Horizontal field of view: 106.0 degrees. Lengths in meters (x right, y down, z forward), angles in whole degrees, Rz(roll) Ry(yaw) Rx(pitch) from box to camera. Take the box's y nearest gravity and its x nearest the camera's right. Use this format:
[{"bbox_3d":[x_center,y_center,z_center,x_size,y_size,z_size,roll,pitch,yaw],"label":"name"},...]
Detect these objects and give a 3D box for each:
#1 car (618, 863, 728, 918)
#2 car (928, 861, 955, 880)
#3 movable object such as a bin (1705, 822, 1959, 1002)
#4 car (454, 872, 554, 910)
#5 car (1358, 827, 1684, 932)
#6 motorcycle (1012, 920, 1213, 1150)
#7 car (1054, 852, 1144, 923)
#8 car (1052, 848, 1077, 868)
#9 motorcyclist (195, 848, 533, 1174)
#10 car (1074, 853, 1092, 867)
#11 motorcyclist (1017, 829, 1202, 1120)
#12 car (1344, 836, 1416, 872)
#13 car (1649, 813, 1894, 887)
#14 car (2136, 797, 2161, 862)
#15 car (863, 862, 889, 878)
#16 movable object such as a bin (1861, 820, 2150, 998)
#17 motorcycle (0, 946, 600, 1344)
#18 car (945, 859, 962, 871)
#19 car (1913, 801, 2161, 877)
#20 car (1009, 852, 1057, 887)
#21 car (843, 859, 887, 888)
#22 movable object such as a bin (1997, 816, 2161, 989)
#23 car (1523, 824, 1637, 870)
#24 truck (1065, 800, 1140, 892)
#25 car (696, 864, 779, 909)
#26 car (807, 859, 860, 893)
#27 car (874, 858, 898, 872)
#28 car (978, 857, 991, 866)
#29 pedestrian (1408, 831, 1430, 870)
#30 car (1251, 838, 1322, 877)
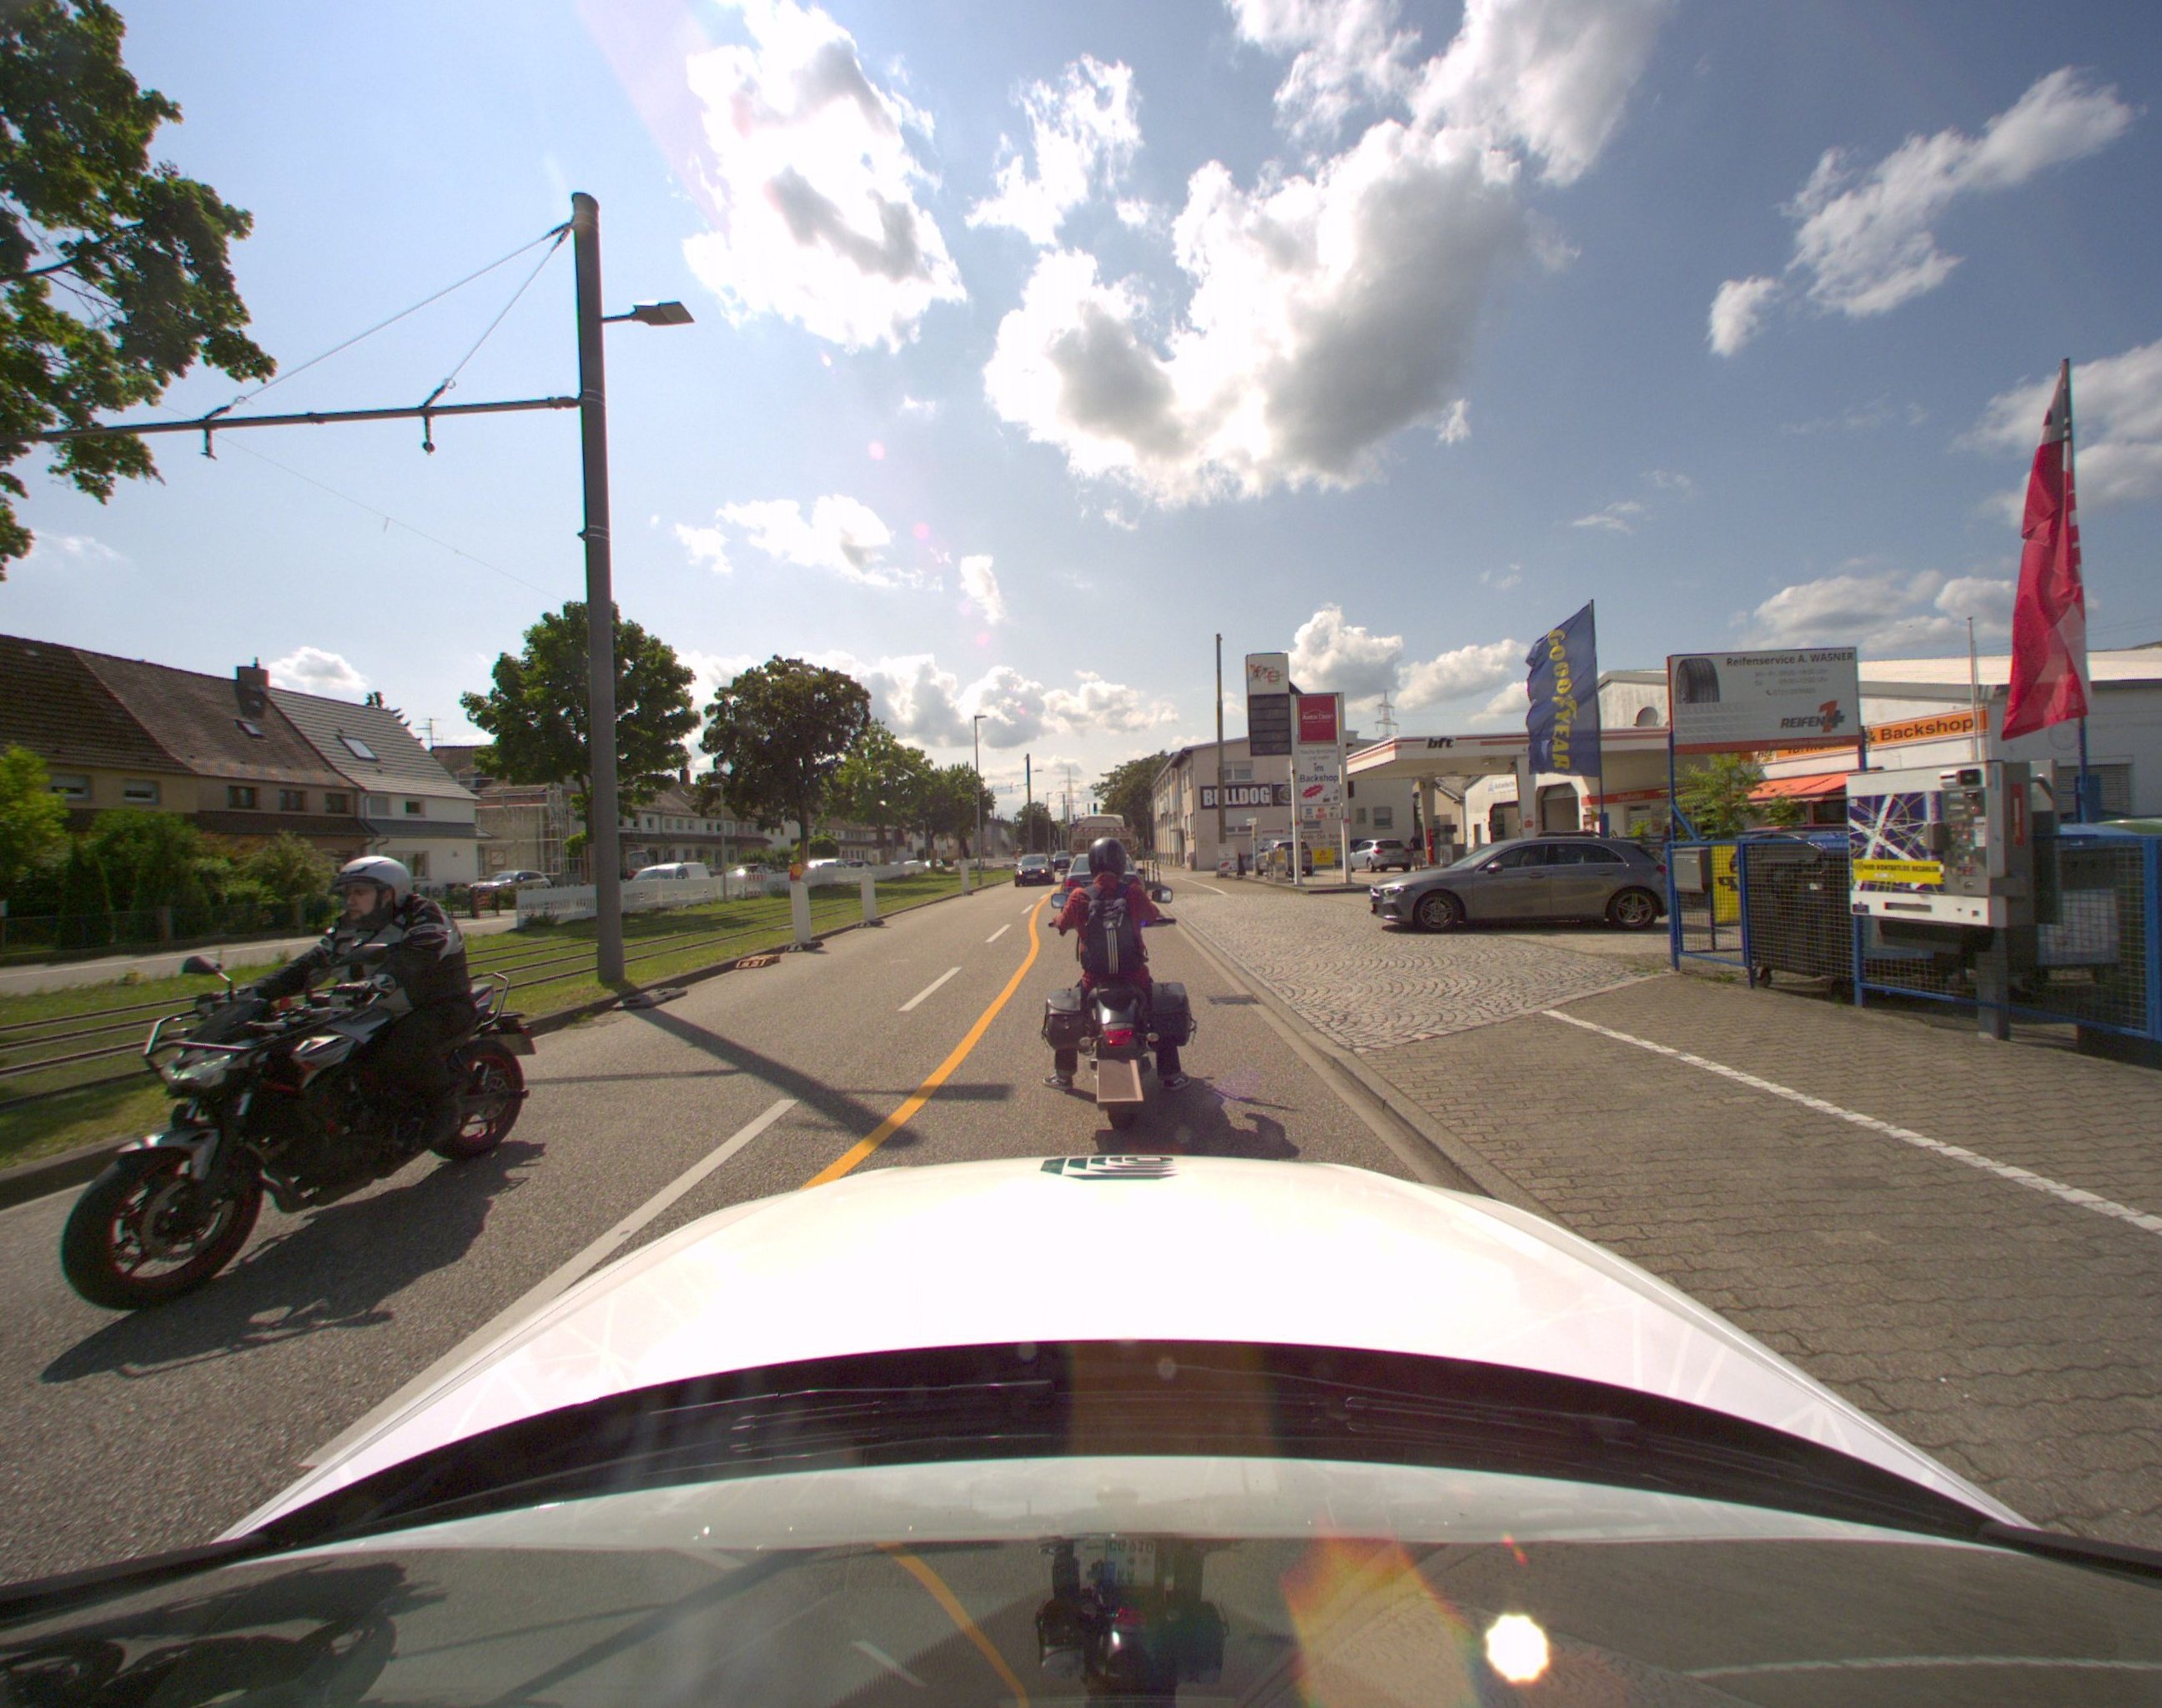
[{"bbox_3d":[-15.467,1.317,31.152,1.769,1.821,4.366,-2,0,2],"label":"car"},{"bbox_3d":[-13.732,1.631,80.451,1.769,1.722,4.130,-2,0,2],"label":"car"},{"bbox_3d":[6.687,0.477,7.355,1.104,1.436,1.244,-2,0,1],"label":"movable object such as a bin"},{"bbox_3d":[-27.440,1.727,38.890,1.769,1.519,4.002,-2,0,2],"label":"car"},{"bbox_3d":[6.756,0.403,12.970,4.243,1.415,1.680,-2,0,13],"label":"car"},{"bbox_3d":[0.202,1.024,5.441,0.975,0.897,2.654,-2,0,2],"label":"motorcycle"},{"bbox_3d":[0.433,0.681,18.659,1.816,1.452,4.002,0,0,2],"label":"car"},{"bbox_3d":[-1.348,0.312,69.697,1.816,1.602,4.326,-3,0,2],"label":"car"},{"bbox_3d":[-3.379,0.678,3.935,0.866,1.378,0.800,-2,0,-1],"label":"motorcyclist"},{"bbox_3d":[0.277,0.674,93.223,1.816,1.452,4.326,-3,0,2],"label":"car"},{"bbox_3d":[0.177,0.676,5.137,0.975,1.602,1.088,-2,0,1],"label":"motorcyclist"},{"bbox_3d":[13.474,-0.010,36.916,1.800,1.503,3.832,-2,0,-1],"label":"car"},{"bbox_3d":[15.771,-0.090,18.754,4.180,1.463,1.587,-2,0,2],"label":"car"},{"bbox_3d":[26.524,-0.639,17.998,4.180,1.463,1.587,-2,0,2],"label":"car"},{"bbox_3d":[-24.392,1.839,97.038,1.769,1.722,4.130,-2,0,2],"label":"car"},{"bbox_3d":[8.081,0.444,7.215,1.104,1.396,1.244,-2,0,1],"label":"movable object such as a bin"},{"bbox_3d":[-3.363,1.092,3.811,0.866,1.021,2.244,-2,0,-1],"label":"motorcycle"},{"bbox_3d":[-19.637,1.634,125.913,1.769,1.722,4.130,-2,0,2],"label":"car"},{"bbox_3d":[21.520,-0.342,18.161,4.180,1.463,1.587,-2,0,2],"label":"car"},{"bbox_3d":[-2.258,0.695,39.201,1.816,1.452,4.326,-3,0,2],"label":"car"},{"bbox_3d":[-14.807,1.335,56.034,1.769,1.805,4.130,-2,0,2],"label":"car"},{"bbox_3d":[9.484,0.373,7.127,1.397,1.396,1.338,-2,0,1],"label":"movable object such as a bin"},{"bbox_3d":[18.117,-0.249,29.780,1.800,1.503,3.833,-2,0,0],"label":"car"},{"bbox_3d":[0.928,-0.323,34.091,2.628,3.296,8.059,-2,0,2],"label":"truck"},{"bbox_3d":[-15.410,1.390,36.795,1.769,1.774,4.230,-2,0,2],"label":"car"},{"bbox_3d":[-15.067,1.328,49.857,1.769,1.867,4.130,-2,0,2],"label":"car"},{"bbox_3d":[-25.164,1.401,105.199,1.769,1.722,4.130,-2,0,2],"label":"car"},{"bbox_3d":[-19.099,1.529,161.350,1.769,1.722,4.252,-2,0,2],"label":"car"},{"bbox_3d":[14.649,-0.133,35.314,0.701,1.656,0.551,-2,0,37],"label":"pedestrian"},{"bbox_3d":[9.114,0.149,36.449,1.665,1.562,4.235,-2,0,-6],"label":"car"}]
